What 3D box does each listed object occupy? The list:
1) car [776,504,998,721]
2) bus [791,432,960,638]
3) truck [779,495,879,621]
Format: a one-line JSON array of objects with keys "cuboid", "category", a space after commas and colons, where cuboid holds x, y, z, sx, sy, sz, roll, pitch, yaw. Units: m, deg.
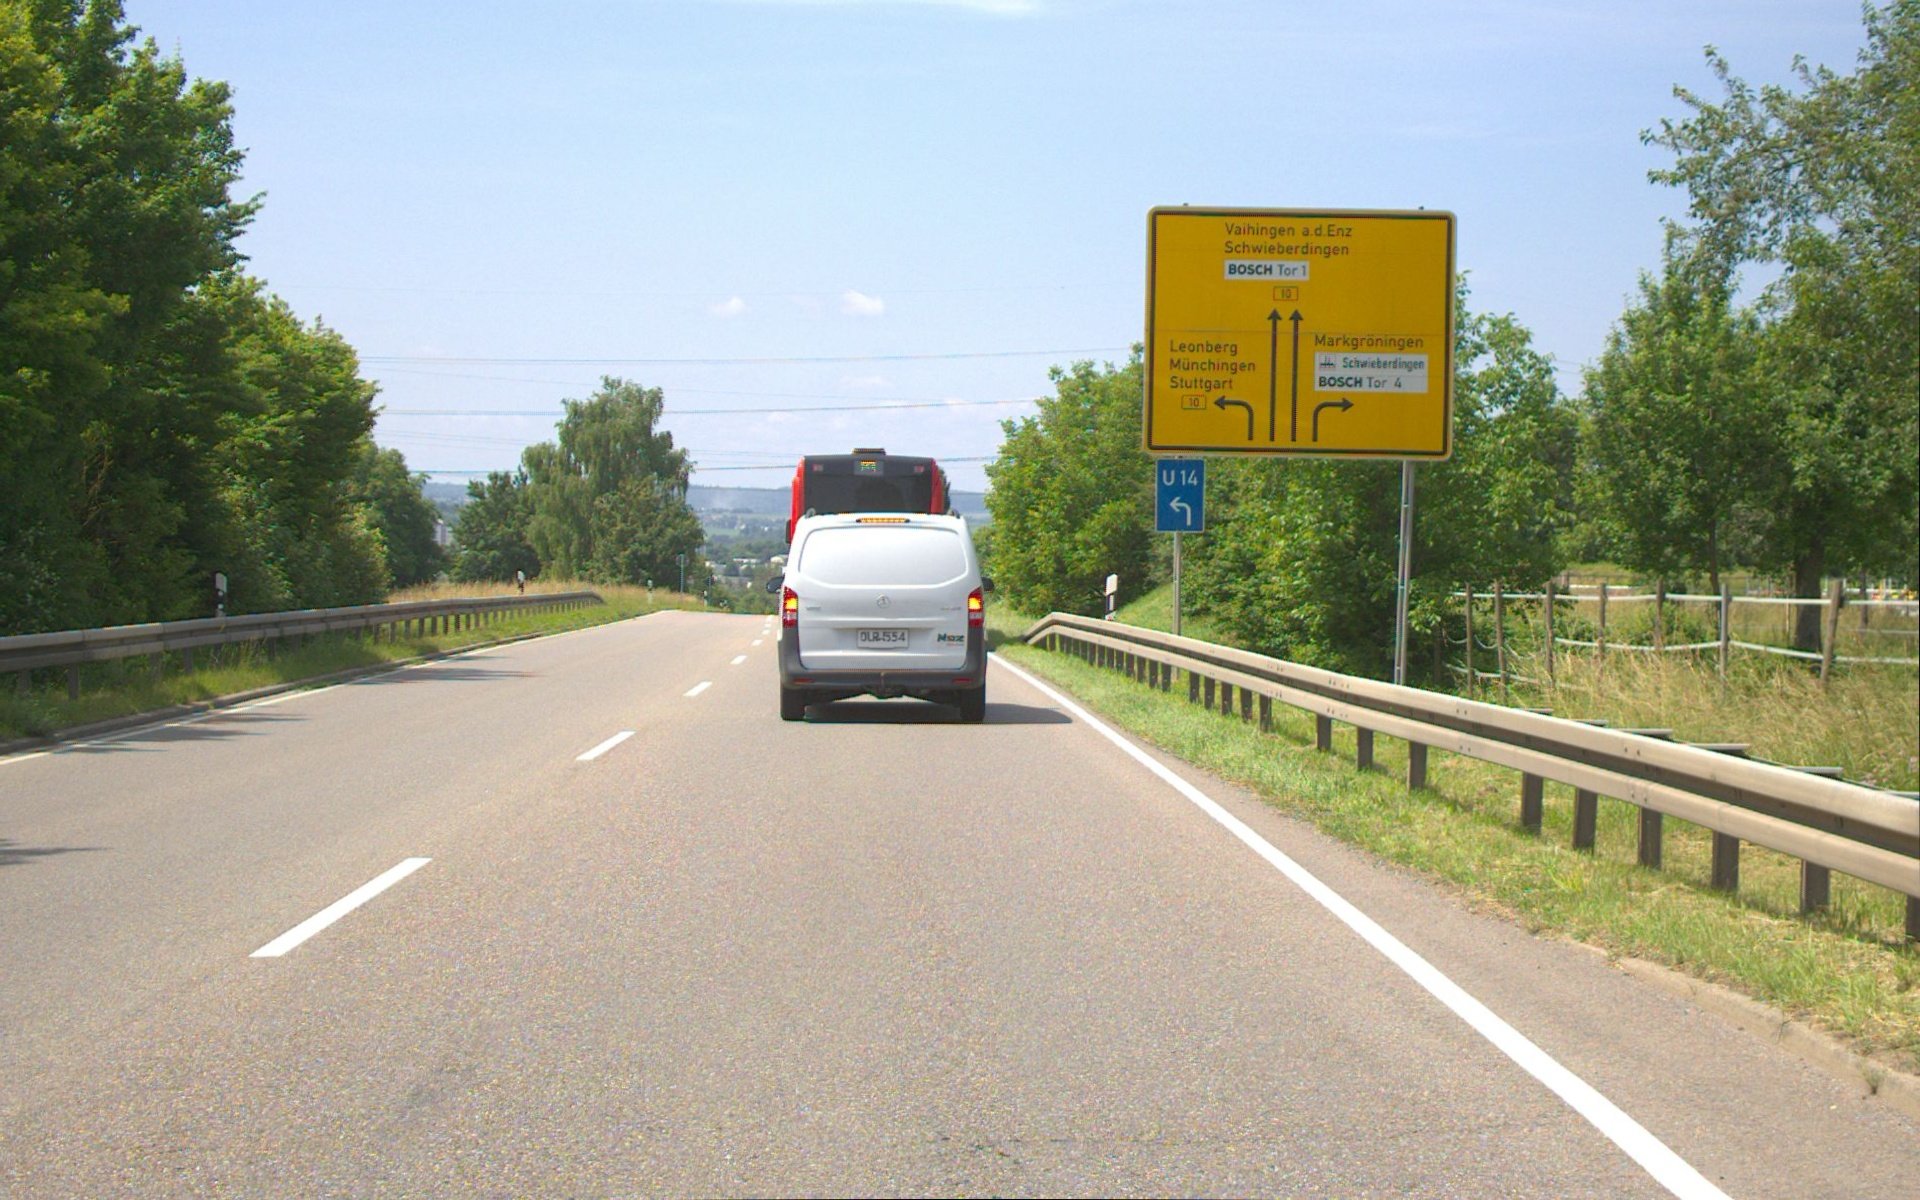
[{"cuboid": [-0.670, 0.058, 32.336, 1.923, 1.883, 4.000, 1, 2, -1], "category": "car"}, {"cuboid": [-1.648, -1.222, 62.439, 2.747, 3.342, 13.223, 0, 1, -2], "category": "bus"}, {"cuboid": [-4.980, -1.677, 128.009, 3.488, 4.408, 14.905, 0, 1, -3], "category": "truck"}]
